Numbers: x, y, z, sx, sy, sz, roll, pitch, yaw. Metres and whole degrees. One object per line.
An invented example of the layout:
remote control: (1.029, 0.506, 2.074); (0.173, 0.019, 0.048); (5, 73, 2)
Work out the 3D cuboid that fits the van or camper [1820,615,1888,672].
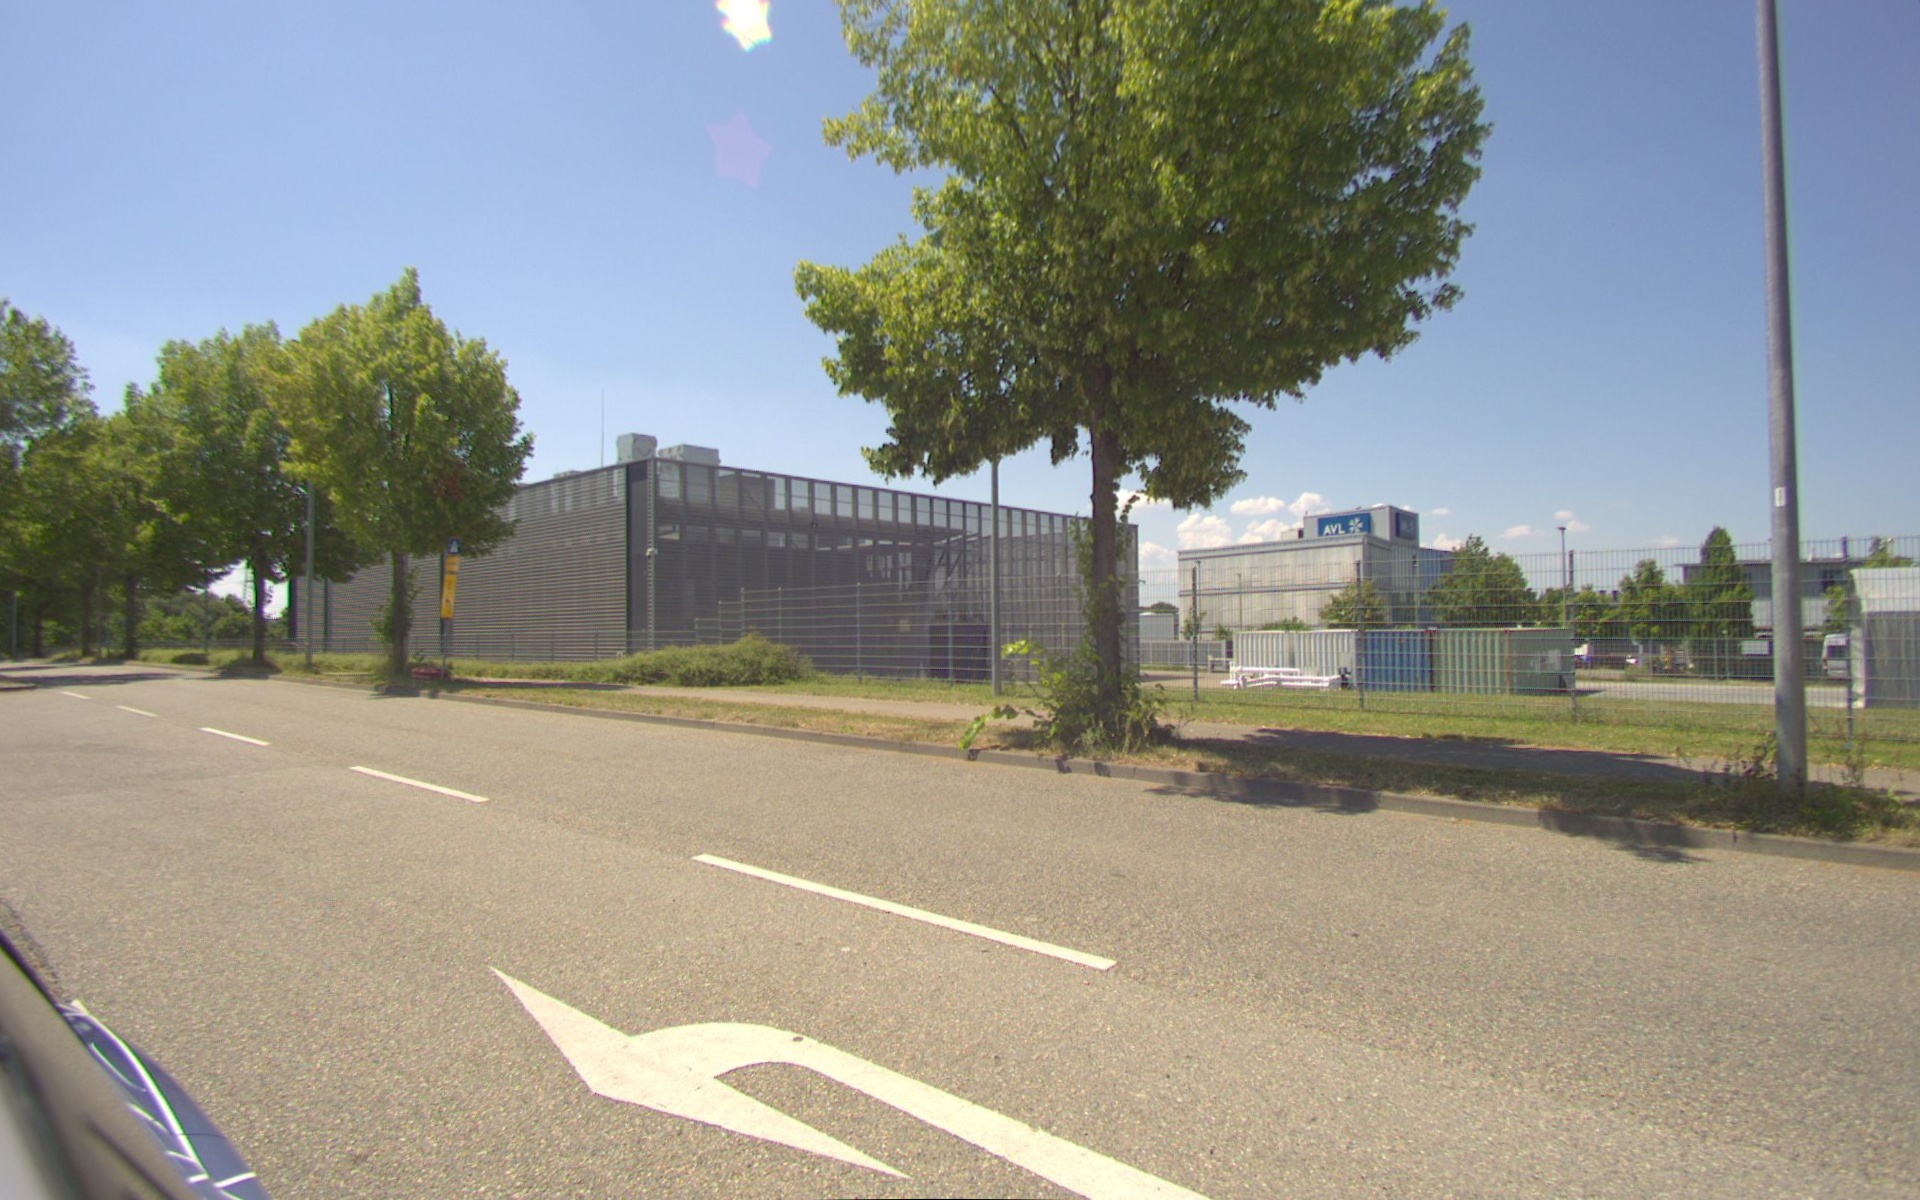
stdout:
van or camper: (39.734, 1.982, 45.077); (1.998, 2.362, 4.241); (-7, -7, 40)
